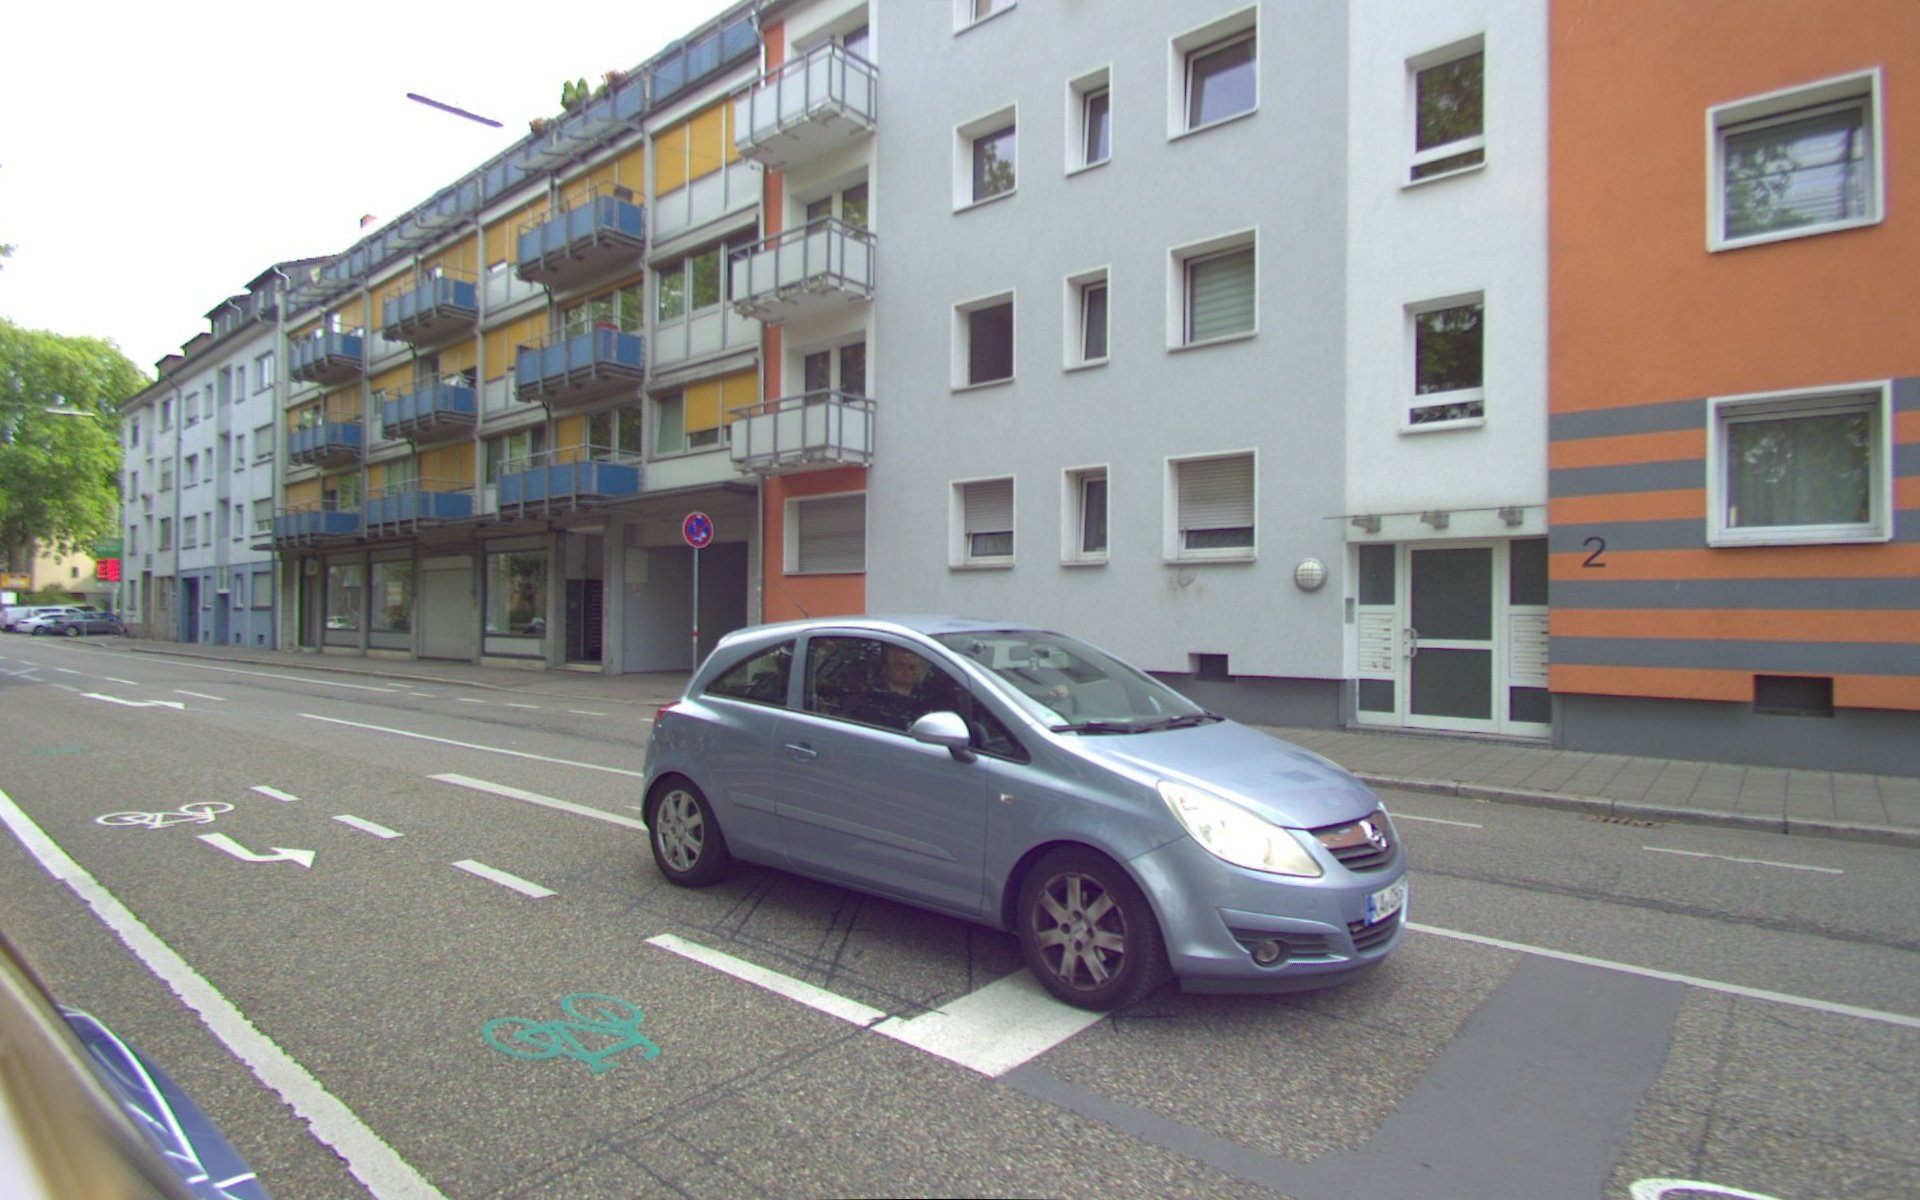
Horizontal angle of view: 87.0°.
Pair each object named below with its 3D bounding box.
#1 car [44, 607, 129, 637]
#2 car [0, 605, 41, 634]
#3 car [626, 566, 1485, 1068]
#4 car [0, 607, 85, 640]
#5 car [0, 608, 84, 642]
[{"bbox_3d":[-54.983,1.360,63.747,1.881,1.701,3.822,-1,0,40],"label":"car"},{"bbox_3d":[-69.001,1.400,72.901,1.998,2.029,3.947,-1,0,40],"label":"car"},{"bbox_3d":[0.199,0.655,4.809,3.817,1.449,1.651,-1,-1,40],"label":"car"},{"bbox_3d":[-61.243,1.544,67.590,1.998,2.029,3.947,-1,0,40],"label":"car"},{"bbox_3d":[-59.494,1.572,65.531,1.998,2.029,3.947,-1,0,40],"label":"car"}]
